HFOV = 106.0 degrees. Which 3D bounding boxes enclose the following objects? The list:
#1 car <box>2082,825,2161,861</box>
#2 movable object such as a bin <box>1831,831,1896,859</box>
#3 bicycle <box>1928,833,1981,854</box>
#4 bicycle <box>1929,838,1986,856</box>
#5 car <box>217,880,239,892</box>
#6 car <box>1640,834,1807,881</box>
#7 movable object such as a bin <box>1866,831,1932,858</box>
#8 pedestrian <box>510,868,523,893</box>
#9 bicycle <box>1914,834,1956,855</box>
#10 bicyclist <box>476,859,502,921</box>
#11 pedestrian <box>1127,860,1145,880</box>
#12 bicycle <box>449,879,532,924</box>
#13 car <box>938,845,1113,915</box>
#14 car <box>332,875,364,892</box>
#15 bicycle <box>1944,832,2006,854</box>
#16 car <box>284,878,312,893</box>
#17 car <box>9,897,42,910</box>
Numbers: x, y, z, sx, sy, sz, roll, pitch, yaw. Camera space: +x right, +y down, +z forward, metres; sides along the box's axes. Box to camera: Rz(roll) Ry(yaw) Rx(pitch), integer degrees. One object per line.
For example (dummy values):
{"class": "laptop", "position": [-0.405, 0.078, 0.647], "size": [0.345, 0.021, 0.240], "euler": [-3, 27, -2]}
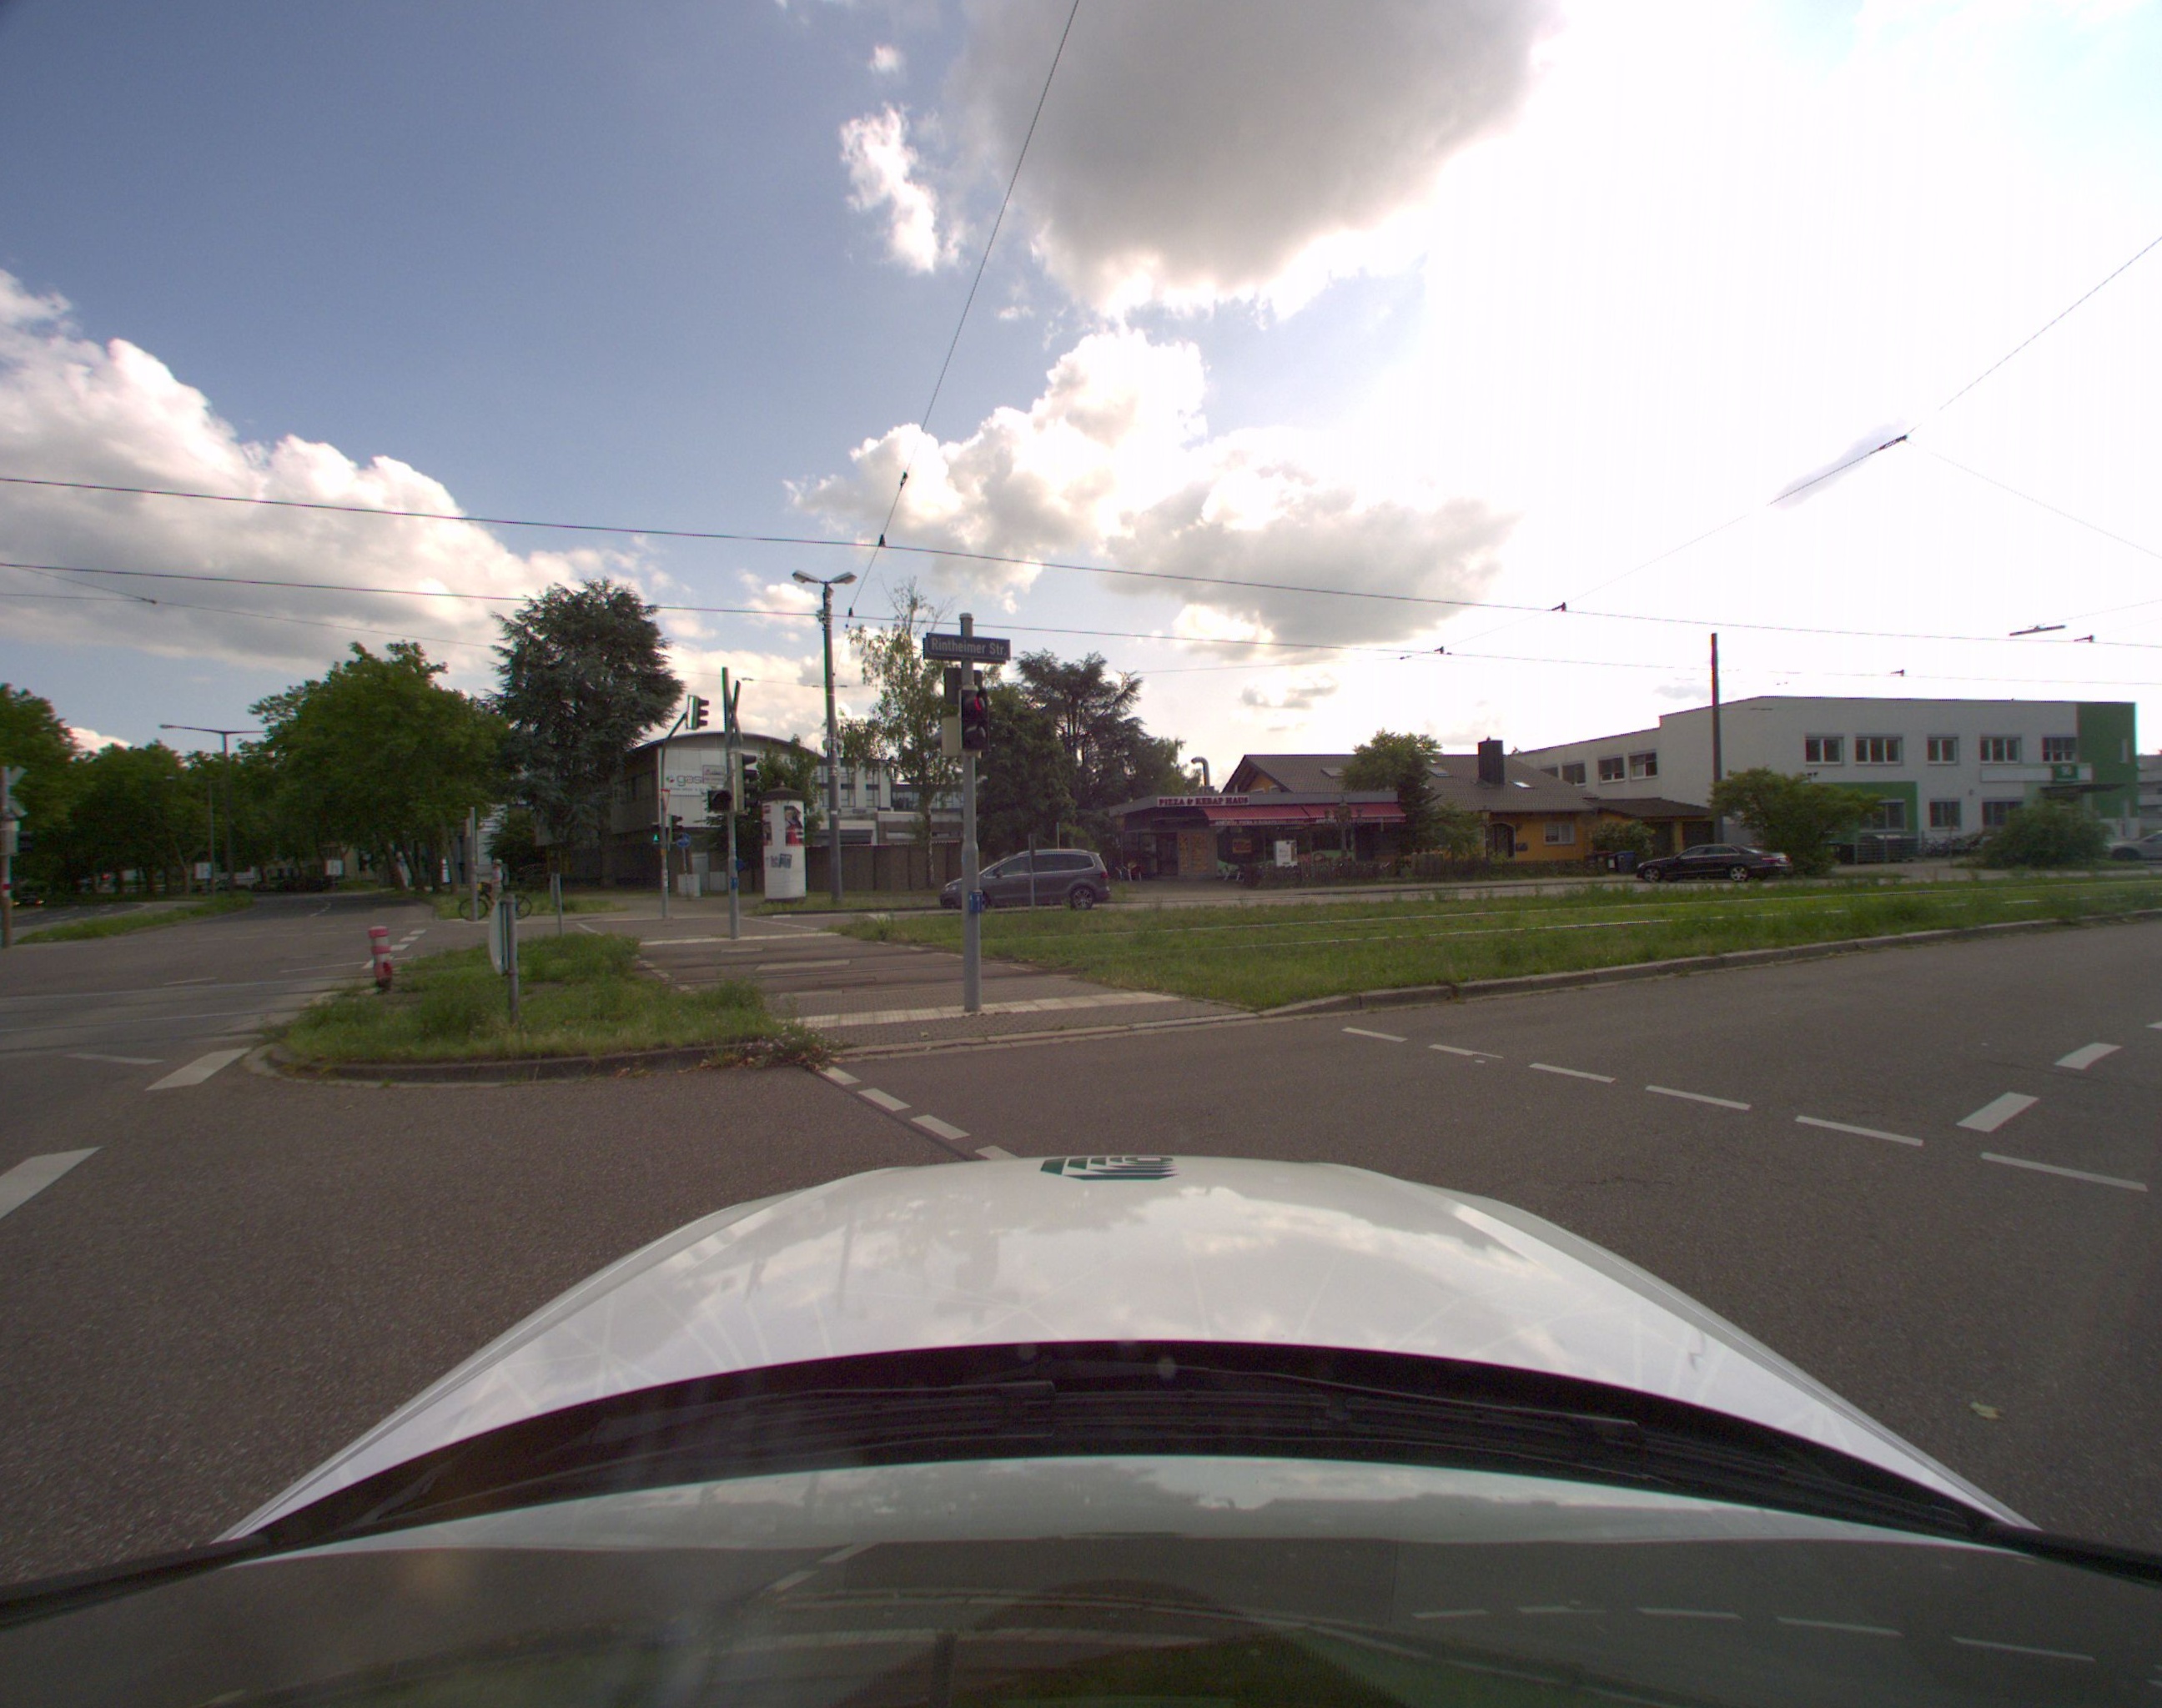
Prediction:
{"class": "car", "position": [49.639, -0.536, 37.508], "size": [1.913, 1.629, 4.262], "euler": [-1, 0, -44]}
{"class": "movable object such as a bin", "position": [39.694, -0.436, 41.328], "size": [2.109, 1.326, 1.373], "euler": [-2, 0, -8]}
{"class": "bicycle", "position": [47.331, -0.572, 44.150], "size": [0.735, 1.081, 1.789], "euler": [-2, 0, -13]}
{"class": "bicycle", "position": [49.518, -0.386, 46.034], "size": [0.728, 0.970, 2.154], "euler": [-2, 0, -7]}
{"class": "car", "position": [-128.779, 4.804, 122.923], "size": [3.949, 1.573, 2.013], "euler": [1, 2, 40]}
{"class": "car", "position": [24.329, 0.172, 31.008], "size": [2.007, 1.580, 4.534], "euler": [-2, -1, -31]}
{"class": "movable object such as a bin", "position": [41.848, -0.471, 41.672], "size": [2.123, 1.326, 1.373], "euler": [-2, 0, -8]}
{"class": "pedestrian", "position": [-36.082, 1.686, 52.025], "size": [0.625, 1.569, 0.553], "euler": [-2, 2, -39]}
{"class": "bicycle", "position": [48.004, -0.530, 45.786], "size": [0.700, 1.166, 1.623], "euler": [-2, 0, 5]}
{"class": "bicyclist", "position": [-17.941, 1.073, 24.698], "size": [0.546, 1.809, 0.536], "euler": [-1, 1, -30]}
{"class": "pedestrian", "position": [2.609, 0.755, 38.964], "size": [0.724, 0.929, 0.775], "euler": [-1, 1, -6]}
{"class": "bicycle", "position": [-17.893, 1.421, 24.736], "size": [1.958, 1.235, 0.536], "euler": [-1, 2, -30]}
{"class": "car", "position": [-1.627, 0.693, 23.084], "size": [4.727, 1.722, 1.992], "euler": [-2, 0, -11]}
{"class": "car", "position": [-79.882, 3.198, 88.746], "size": [3.949, 1.573, 2.013], "euler": [1, 2, 40]}
{"class": "bicycle", "position": [50.446, -0.594, 45.996], "size": [0.757, 1.166, 2.347], "euler": [-2, 0, -5]}
{"class": "car", "position": [-96.368, 3.818, 100.162], "size": [3.949, 1.573, 2.013], "euler": [1, 2, 40]}
{"class": "car", "position": [-110.152, 5.177, 84.985], "size": [3.660, 1.191, 1.650], "euler": [-2, 0, 31]}
